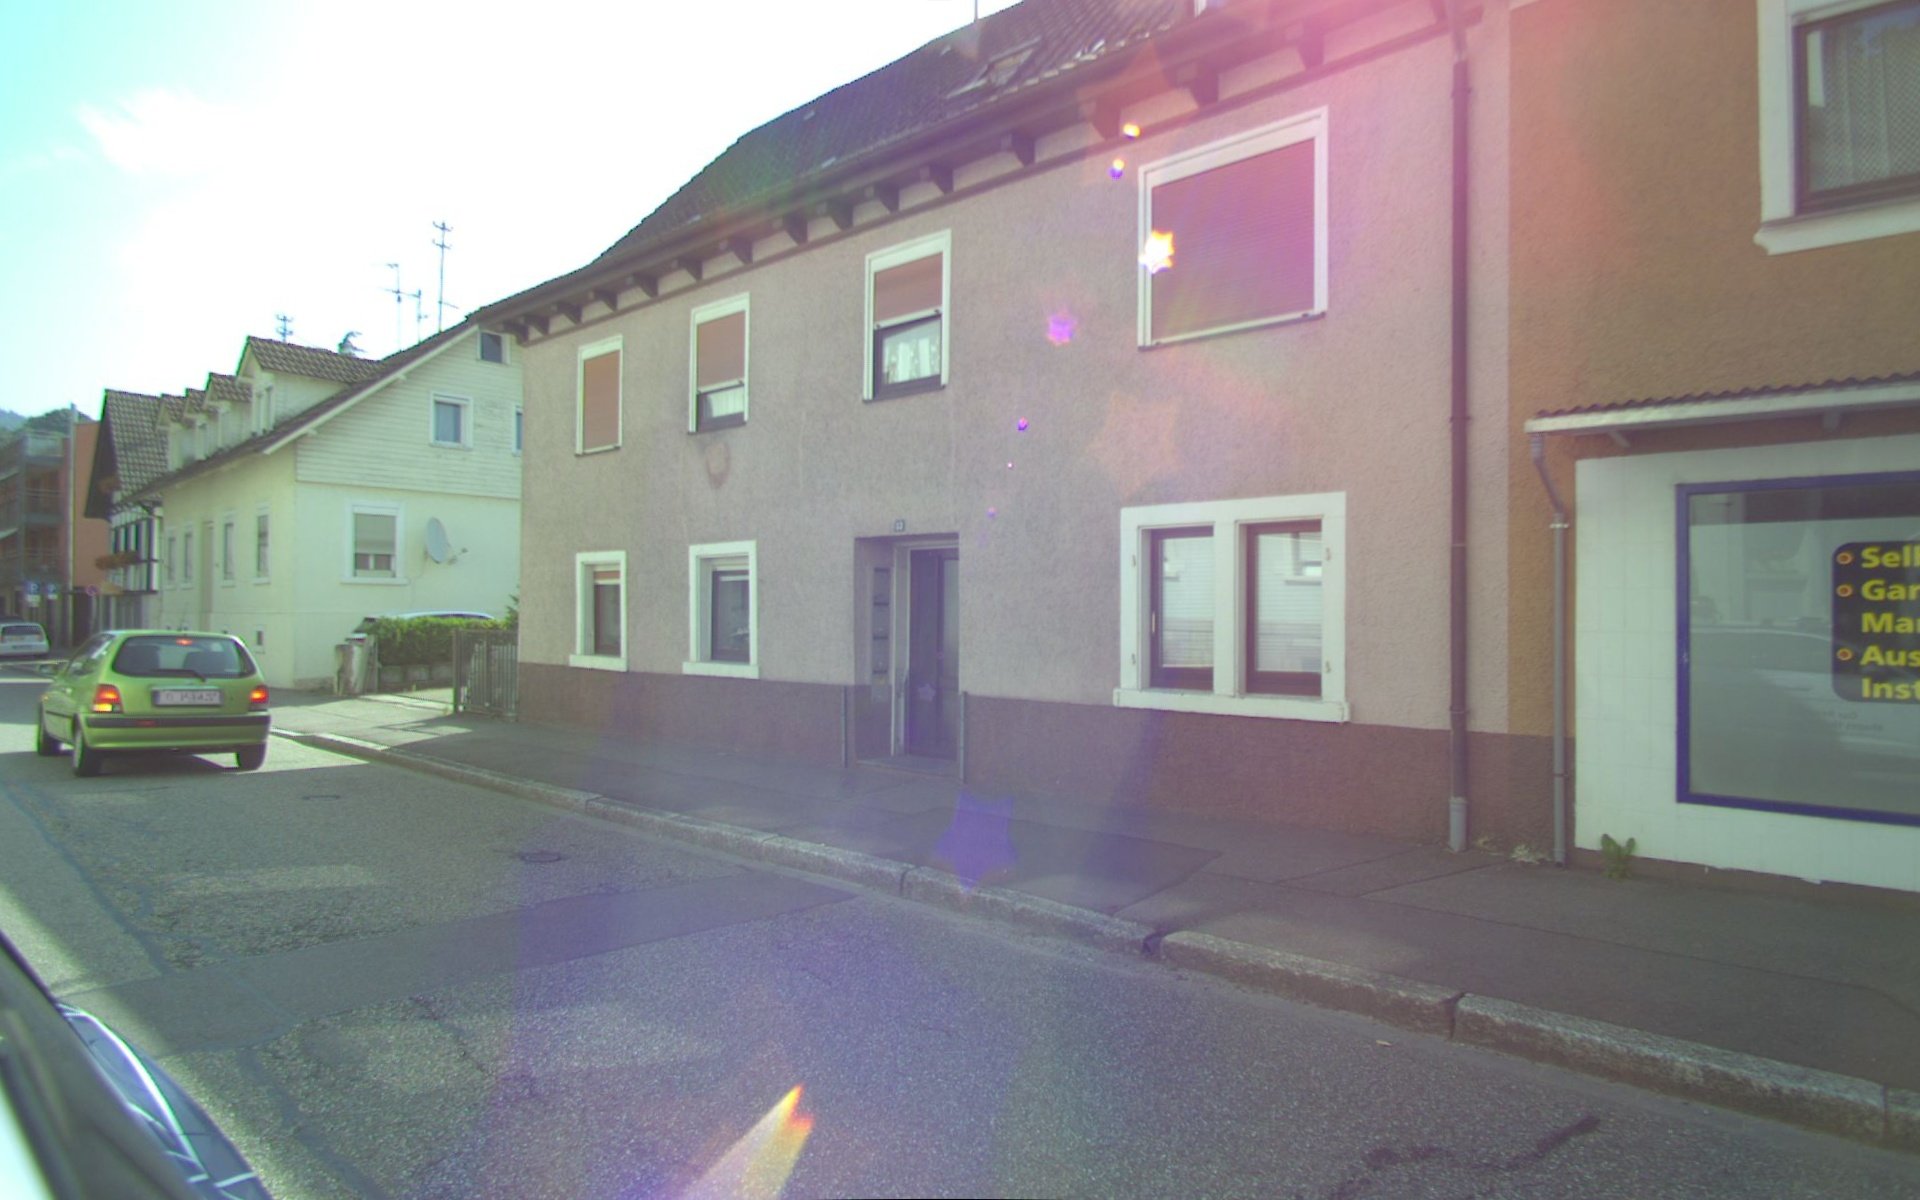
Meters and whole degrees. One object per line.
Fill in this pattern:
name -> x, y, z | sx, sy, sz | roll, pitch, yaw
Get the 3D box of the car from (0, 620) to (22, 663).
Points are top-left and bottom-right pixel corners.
car -> -41.726, 1.766, 43.298 | 4.264, 1.810, 1.703 | -1, -2, 39

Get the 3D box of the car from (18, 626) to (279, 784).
car -> -9.122, 1.075, 11.290 | 3.658, 1.475, 1.580 | -1, -5, 41

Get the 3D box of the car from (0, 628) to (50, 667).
car -> -37.584, 1.890, 40.253 | 3.567, 1.443, 1.649 | -2, -1, 41

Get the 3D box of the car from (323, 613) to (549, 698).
car -> -11.334, 1.127, 22.093 | 1.905, 1.606, 3.949 | -1, -1, 38
